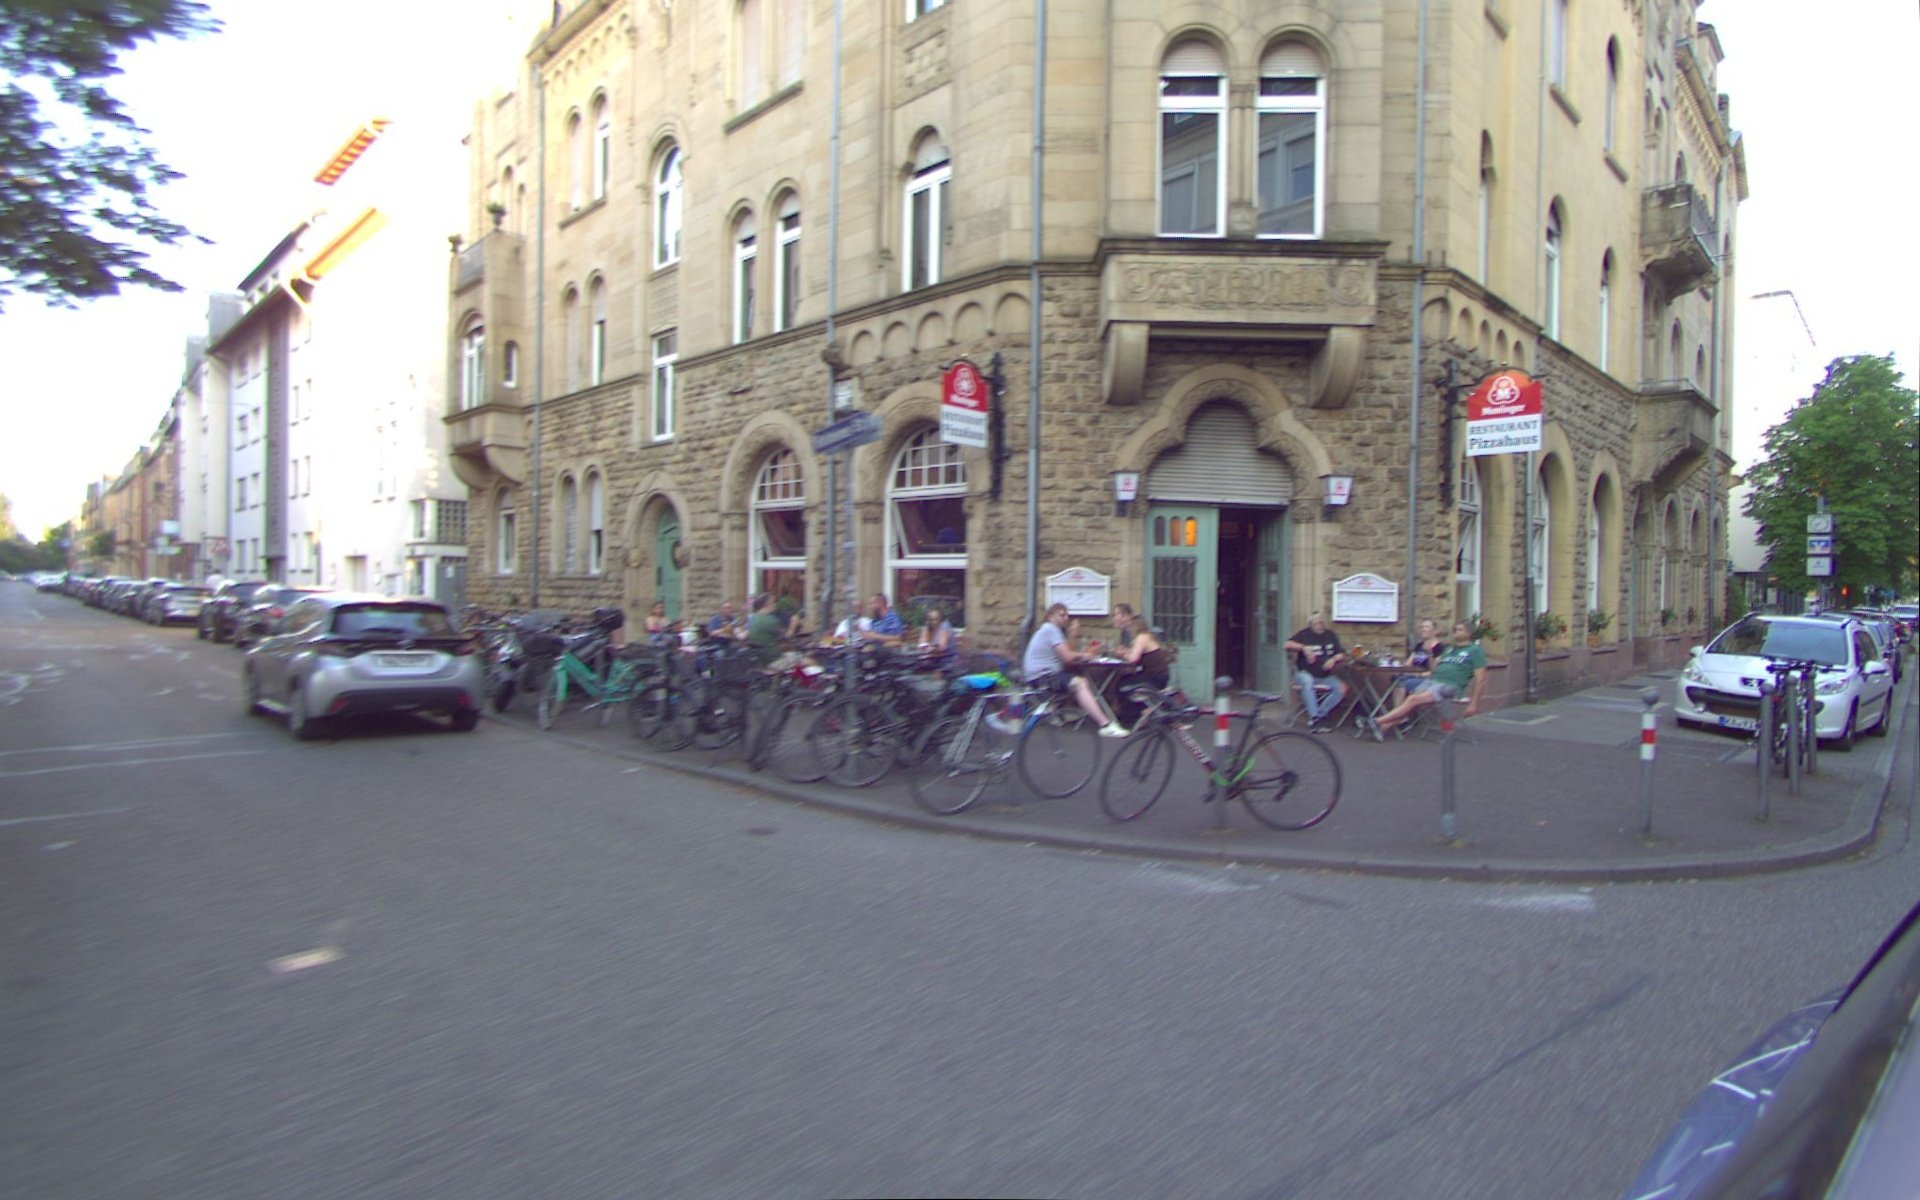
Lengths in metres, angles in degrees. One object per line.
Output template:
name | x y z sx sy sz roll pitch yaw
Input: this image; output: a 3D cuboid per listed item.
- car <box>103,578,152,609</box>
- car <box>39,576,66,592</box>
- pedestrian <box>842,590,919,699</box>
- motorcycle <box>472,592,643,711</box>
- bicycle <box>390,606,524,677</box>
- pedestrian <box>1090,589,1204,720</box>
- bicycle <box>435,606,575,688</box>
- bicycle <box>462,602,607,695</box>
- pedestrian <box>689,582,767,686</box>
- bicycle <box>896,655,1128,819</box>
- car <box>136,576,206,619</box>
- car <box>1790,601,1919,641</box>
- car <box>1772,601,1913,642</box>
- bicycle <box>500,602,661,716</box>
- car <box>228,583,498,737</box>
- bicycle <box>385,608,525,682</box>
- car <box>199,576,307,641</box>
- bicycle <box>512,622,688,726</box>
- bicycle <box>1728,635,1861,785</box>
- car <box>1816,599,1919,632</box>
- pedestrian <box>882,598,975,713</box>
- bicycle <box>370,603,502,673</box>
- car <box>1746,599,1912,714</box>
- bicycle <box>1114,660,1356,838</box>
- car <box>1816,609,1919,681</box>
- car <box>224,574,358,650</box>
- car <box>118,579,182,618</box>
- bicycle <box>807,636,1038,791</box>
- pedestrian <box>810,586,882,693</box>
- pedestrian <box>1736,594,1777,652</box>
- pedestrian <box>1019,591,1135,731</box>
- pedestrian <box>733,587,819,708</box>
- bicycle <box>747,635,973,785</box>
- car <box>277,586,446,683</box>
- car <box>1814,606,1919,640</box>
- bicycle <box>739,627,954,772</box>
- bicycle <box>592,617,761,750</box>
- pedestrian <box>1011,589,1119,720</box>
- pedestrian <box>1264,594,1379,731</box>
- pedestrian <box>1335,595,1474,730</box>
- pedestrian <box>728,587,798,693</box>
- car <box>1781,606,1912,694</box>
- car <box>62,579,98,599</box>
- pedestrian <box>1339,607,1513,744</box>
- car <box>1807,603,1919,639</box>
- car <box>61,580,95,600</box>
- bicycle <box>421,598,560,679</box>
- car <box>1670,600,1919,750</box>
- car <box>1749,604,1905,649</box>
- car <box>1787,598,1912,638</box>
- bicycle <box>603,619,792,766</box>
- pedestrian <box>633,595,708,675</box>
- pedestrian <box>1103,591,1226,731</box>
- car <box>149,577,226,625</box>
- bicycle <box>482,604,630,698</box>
car | -42.820 -0.325 52.027 1.795 1.502 3.900 1 1 -42
car | -89.993 -1.559 100.374 1.797 1.502 3.896 1 1 -45
pedestrian | -1.017 0.544 12.989 0.729 1.337 0.657 1 0 42
motorcycle | -5.071 0.598 12.877 0.637 1.369 1.975 1 2 39
bicycle | -7.869 0.621 15.893 0.543 1.042 1.807 1 0 41
pedestrian | 2.108 0.590 11.533 1.082 1.414 0.842 0 1 -4
bicycle | -6.672 0.659 14.906 0.543 1.121 1.807 1 0 41
bicycle | -5.901 0.637 14.126 0.543 1.210 1.807 1 0 41
pedestrian | -3.388 0.474 14.752 0.899 1.443 0.703 1 0 42
bicycle | 0.398 0.918 7.162 1.672 0.992 0.448 1 0 -32
car | -29.162 -0.065 37.365 1.794 1.502 3.900 1 -1 -41
car | 38.348 0.852 43.269 4.292 1.548 1.794 1 0 45
car | 36.445 0.847 41.844 4.292 1.548 1.794 1 0 45
bicycle | -4.600 0.674 12.386 0.581 1.278 1.810 1 0 37
car | -6.937 0.538 11.563 1.853 1.401 4.029 0 1 -43
bicycle | -7.543 0.644 15.192 0.543 1.042 1.807 1 0 41
car | -17.824 0.199 25.448 1.794 1.502 3.900 1 -1 -41
bicycle | -3.985 0.810 11.341 1.796 1.091 0.592 1 0 -14
bicycle | 7.810 0.957 9.434 2.080 1.165 0.685 1 3 -45
car | 47.218 0.787 52.405 4.292 1.548 1.794 1 0 45
pedestrian | -0.374 0.631 12.073 0.703 1.299 0.865 1 0 40
bicycle | -8.388 0.584 16.261 0.543 1.042 1.807 1 0 41
car | 14.132 0.811 16.492 1.763 1.502 4.488 5 3 41
bicycle | 1.766 0.949 6.618 1.449 1.052 0.432 1 0 4
car | 22.292 1.022 24.656 4.482 1.503 1.765 1 2 -45
car | -14.688 0.252 22.148 1.796 1.502 3.897 1 -1 -43
car | -32.931 -0.092 41.120 1.795 1.502 3.900 1 1 -42
bicycle | -0.267 0.846 7.997 1.798 1.080 0.514 1 0 -32
pedestrian | -1.519 0.507 13.513 0.590 1.375 0.726 1 0 42
pedestrian | 25.232 0.722 32.062 0.819 1.788 0.851 1 1 -41
pedestrian | 1.217 0.618 10.762 1.082 1.414 0.842 0 1 -4
pedestrian | -2.275 0.563 12.571 0.709 1.422 0.786 1 0 29
bicycle | -0.783 0.845 8.248 1.798 1.084 0.476 1 0 -32
car | -10.609 0.550 17.821 1.795 1.502 3.898 1 -1 -42
car | 45.585 1.117 50.590 4.292 1.548 1.794 1 0 45
bicycle | -0.956 0.811 8.766 1.798 1.126 0.503 1 0 -32
bicycle | -2.859 0.793 10.139 1.820 1.176 0.532 1 0 32
pedestrian | 1.169 0.591 11.468 1.082 1.414 0.842 0 1 -4
pedestrian | 4.010 0.667 11.304 0.880 1.414 1.011 3 0 2
pedestrian | 5.019 0.692 11.462 1.081 1.414 0.843 3 1 -13
pedestrian | -2.755 0.532 14.163 0.758 1.414 0.617 -1 2 -41
car | 18.025 0.926 20.496 1.764 1.503 4.484 4 2 44
car | -67.517 -0.861 77.607 1.797 1.502 3.896 1 1 -45
pedestrian | 4.864 0.761 10.655 1.393 1.301 0.841 2 1 3
car | 43.925 0.984 49.040 4.292 1.556 1.794 1 0 45
car | -71.288 -0.826 81.811 1.797 1.502 3.896 1 1 -45
bicycle | -7.057 0.550 15.279 0.589 1.152 1.807 1 0 41
car | 10.861 0.838 13.012 4.385 1.502 1.767 1 3 -41
car | 32.106 0.930 37.554 4.292 1.470 1.794 1 0 45
car | 41.627 0.816 47.428 4.292 1.697 1.794 1 0 45
bicycle | -2.400 0.784 9.162 1.820 1.166 0.552 1 0 32
pedestrian | -4.727 0.545 16.516 0.923 1.242 0.810 1 0 42
pedestrian | 2.166 0.621 10.828 1.082 1.414 0.842 0 1 -4
car | -25.941 0.036 33.945 1.794 1.502 3.900 1 -1 -41
bicycle | -5.445 0.652 13.728 0.543 1.175 1.807 1 0 41
